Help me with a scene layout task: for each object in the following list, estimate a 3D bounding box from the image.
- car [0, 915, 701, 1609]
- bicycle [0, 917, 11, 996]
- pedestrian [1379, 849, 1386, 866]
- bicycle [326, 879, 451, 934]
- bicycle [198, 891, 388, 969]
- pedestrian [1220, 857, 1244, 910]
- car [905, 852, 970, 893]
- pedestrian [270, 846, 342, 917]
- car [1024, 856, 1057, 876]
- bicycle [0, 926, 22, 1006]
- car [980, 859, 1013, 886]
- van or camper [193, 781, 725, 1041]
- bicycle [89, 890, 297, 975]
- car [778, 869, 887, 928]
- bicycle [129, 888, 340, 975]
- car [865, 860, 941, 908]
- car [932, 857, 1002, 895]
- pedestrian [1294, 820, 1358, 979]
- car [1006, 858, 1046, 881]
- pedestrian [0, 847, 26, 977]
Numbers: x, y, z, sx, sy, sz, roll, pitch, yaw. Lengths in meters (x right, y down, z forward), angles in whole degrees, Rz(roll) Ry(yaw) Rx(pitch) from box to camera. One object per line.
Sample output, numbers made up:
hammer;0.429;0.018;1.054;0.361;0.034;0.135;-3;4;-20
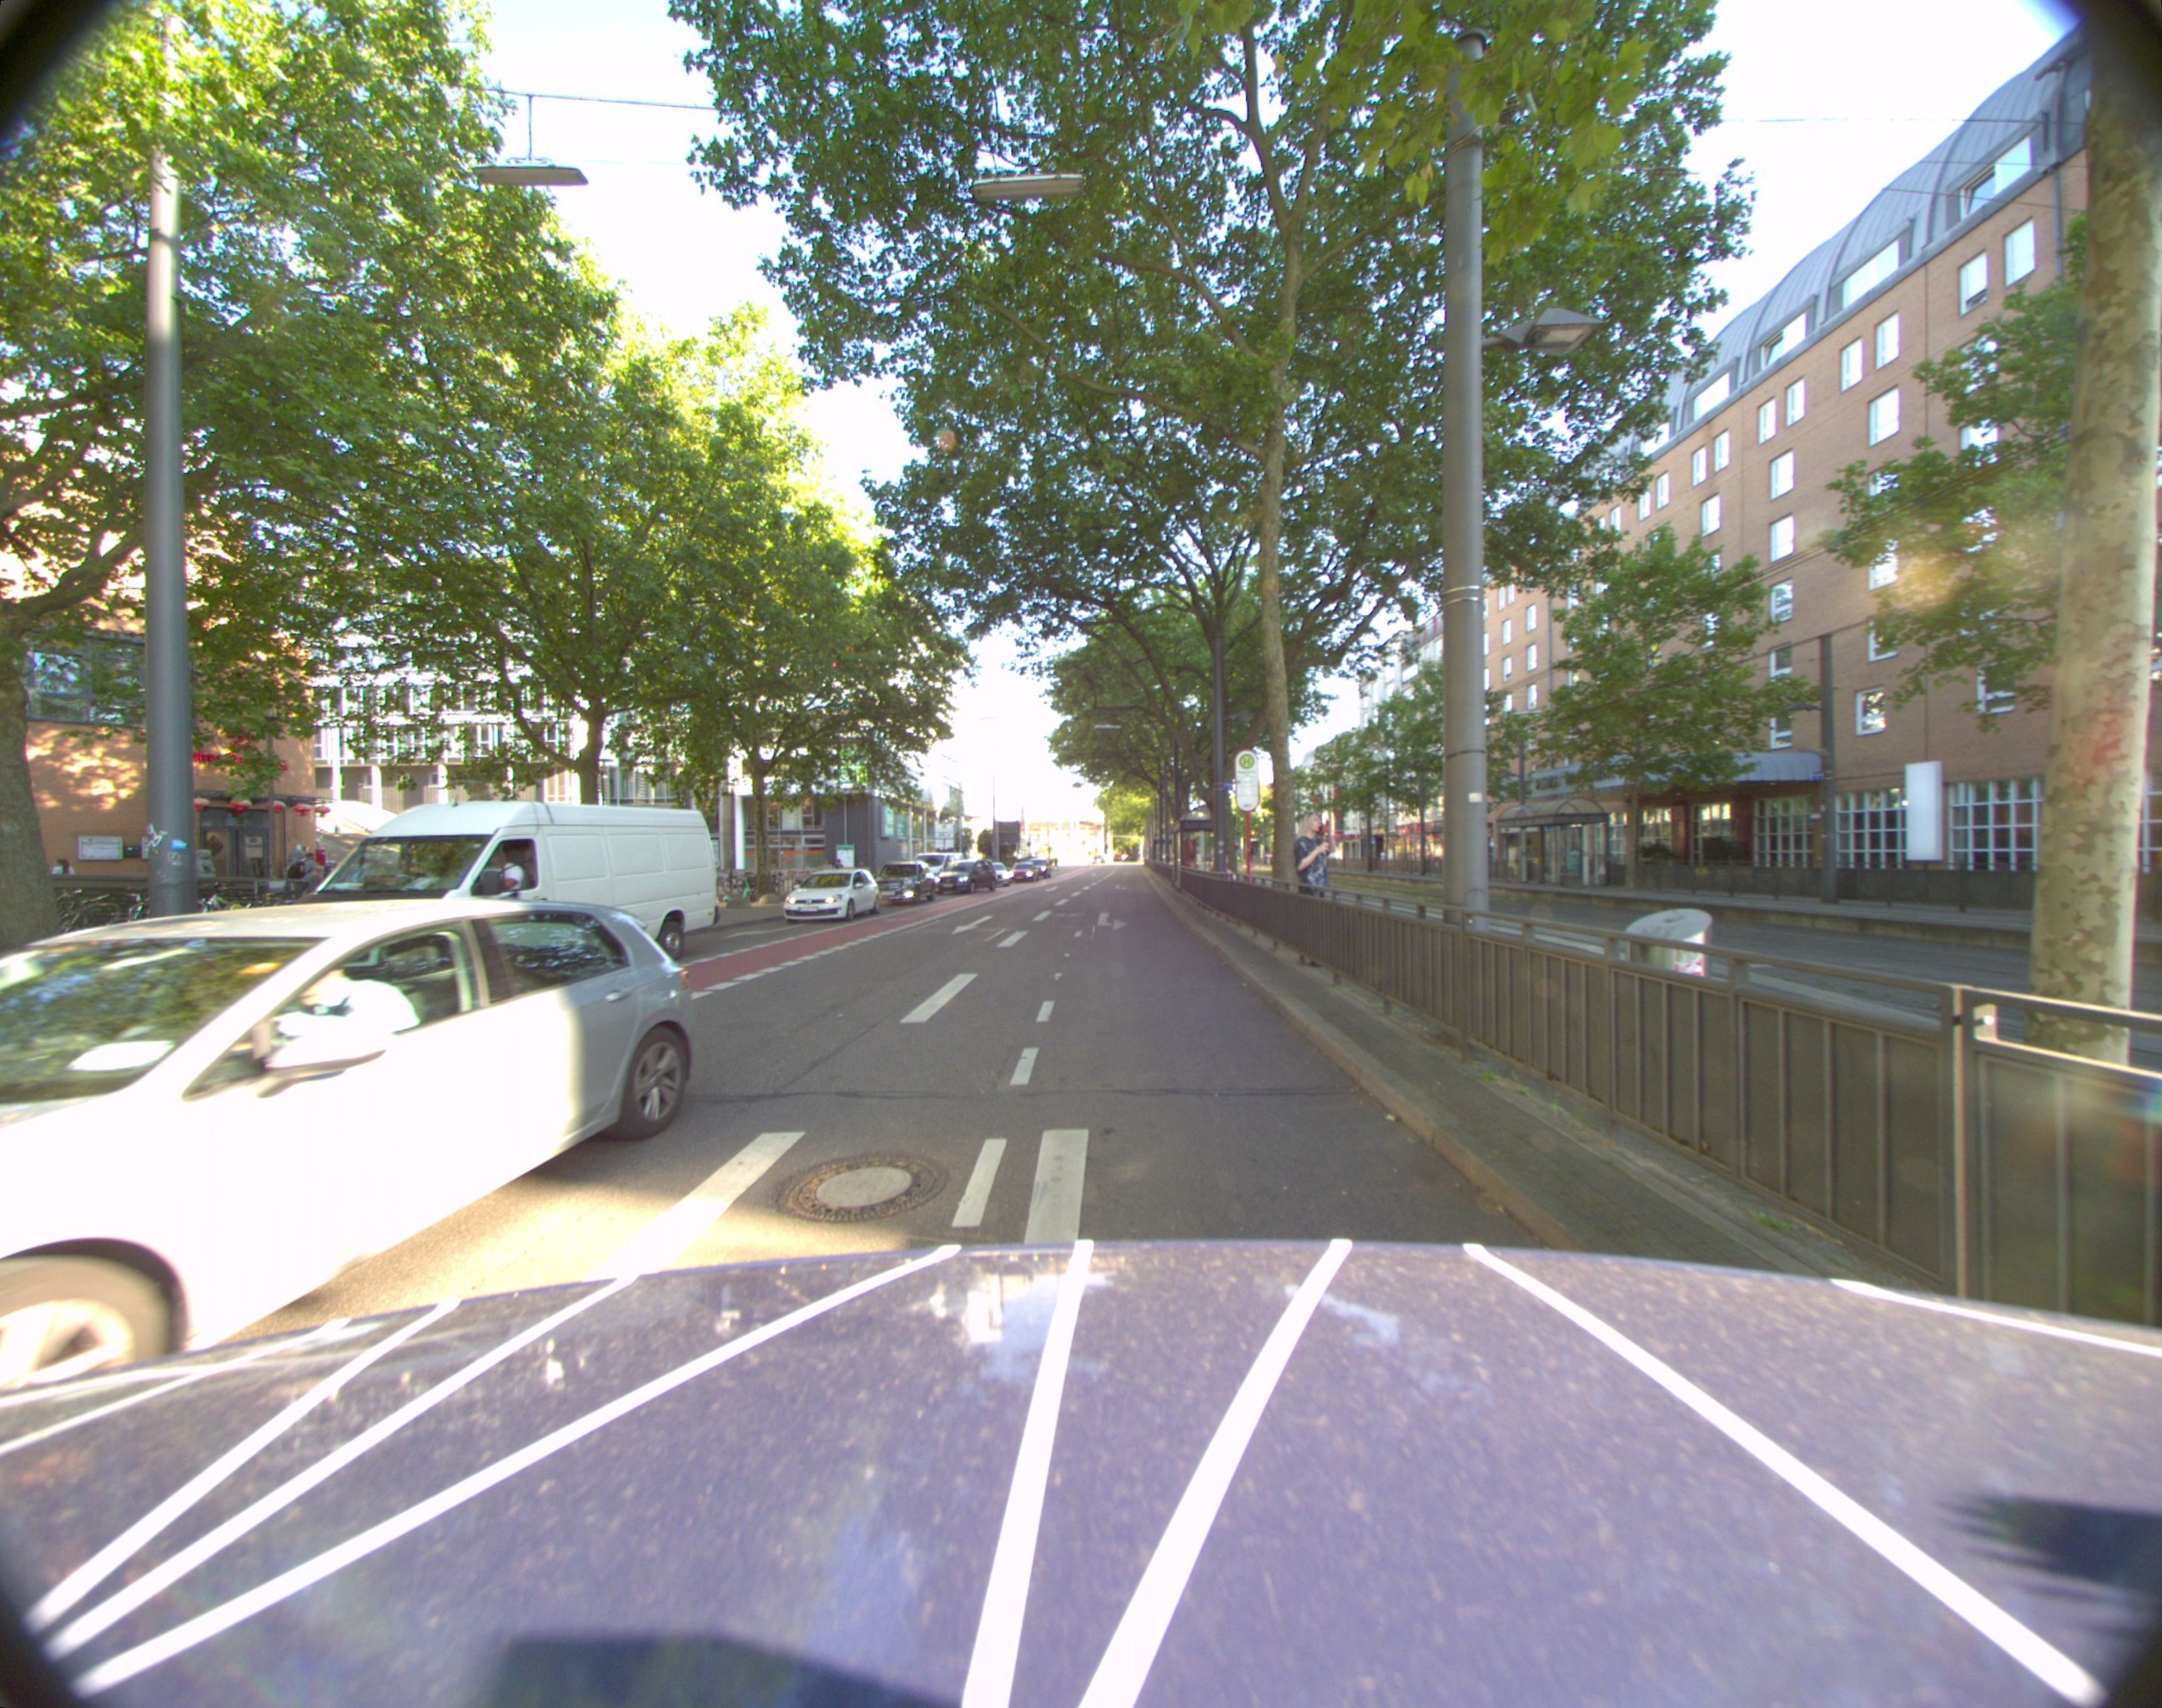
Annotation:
car;-3.368;1.093;2.786;1.752;1.410;4.001;-2;-1;3
bicycle;-14.255;1.338;8.012;1.050;0.996;3.412;-2;1;1
pedestrian;30.582;0.323;76.972;0.504;1.725;0.574;-1;1;3
bicycle;-17.844;1.319;19.707;0.699;1.193;2.700;-2;1;1
bicycle;-13.178;1.222;12.846;0.682;1.054;2.337;-1;1;2
pedestrian;3.897;0.750;19.610;0.542;1.310;0.524;-2;1;12
car;-7.439;0.892;40.044;1.933;1.953;5.919;-2;0;4
pedestrian;-22.765;0.795;22.340;1.013;2.002;1.016;-2;1;12
car;-3.323;1.010;63.043;1.784;1.481;4.198;-3;0;10
bicycle;-13.387;1.373;7.922;0.925;0.943;2.637;-2;1;1
car;-5.113;1.111;46.148;1.837;1.481;4.193;-2;0;-6
van or camper;-7.783;0.577;10.883;2.004;2.599;6.499;-1;0;3
bicycle;-14.804;1.256;12.804;0.671;1.155;2.305;-2;1;3
car;-7.055;1.206;22.005;1.639;1.420;3.987;-2;0;3
bicycle;-14.047;1.232;12.758;0.751;1.155;2.398;-2;1;2
car;-6.745;1.078;29.229;1.769;1.626;4.250;-2;0;1
car;-5.421;1.006;36.825;1.708;1.626;4.395;-2;0;14
pedestrian;2.900;0.529;9.041;0.543;1.823;0.524;-2;1;2
car;-3.899;1.079;54.764;1.834;1.481;4.198;-3;0;10
pedestrian;-17.080;0.895;11.455;0.934;2.002;1.091;-1;1;-25
